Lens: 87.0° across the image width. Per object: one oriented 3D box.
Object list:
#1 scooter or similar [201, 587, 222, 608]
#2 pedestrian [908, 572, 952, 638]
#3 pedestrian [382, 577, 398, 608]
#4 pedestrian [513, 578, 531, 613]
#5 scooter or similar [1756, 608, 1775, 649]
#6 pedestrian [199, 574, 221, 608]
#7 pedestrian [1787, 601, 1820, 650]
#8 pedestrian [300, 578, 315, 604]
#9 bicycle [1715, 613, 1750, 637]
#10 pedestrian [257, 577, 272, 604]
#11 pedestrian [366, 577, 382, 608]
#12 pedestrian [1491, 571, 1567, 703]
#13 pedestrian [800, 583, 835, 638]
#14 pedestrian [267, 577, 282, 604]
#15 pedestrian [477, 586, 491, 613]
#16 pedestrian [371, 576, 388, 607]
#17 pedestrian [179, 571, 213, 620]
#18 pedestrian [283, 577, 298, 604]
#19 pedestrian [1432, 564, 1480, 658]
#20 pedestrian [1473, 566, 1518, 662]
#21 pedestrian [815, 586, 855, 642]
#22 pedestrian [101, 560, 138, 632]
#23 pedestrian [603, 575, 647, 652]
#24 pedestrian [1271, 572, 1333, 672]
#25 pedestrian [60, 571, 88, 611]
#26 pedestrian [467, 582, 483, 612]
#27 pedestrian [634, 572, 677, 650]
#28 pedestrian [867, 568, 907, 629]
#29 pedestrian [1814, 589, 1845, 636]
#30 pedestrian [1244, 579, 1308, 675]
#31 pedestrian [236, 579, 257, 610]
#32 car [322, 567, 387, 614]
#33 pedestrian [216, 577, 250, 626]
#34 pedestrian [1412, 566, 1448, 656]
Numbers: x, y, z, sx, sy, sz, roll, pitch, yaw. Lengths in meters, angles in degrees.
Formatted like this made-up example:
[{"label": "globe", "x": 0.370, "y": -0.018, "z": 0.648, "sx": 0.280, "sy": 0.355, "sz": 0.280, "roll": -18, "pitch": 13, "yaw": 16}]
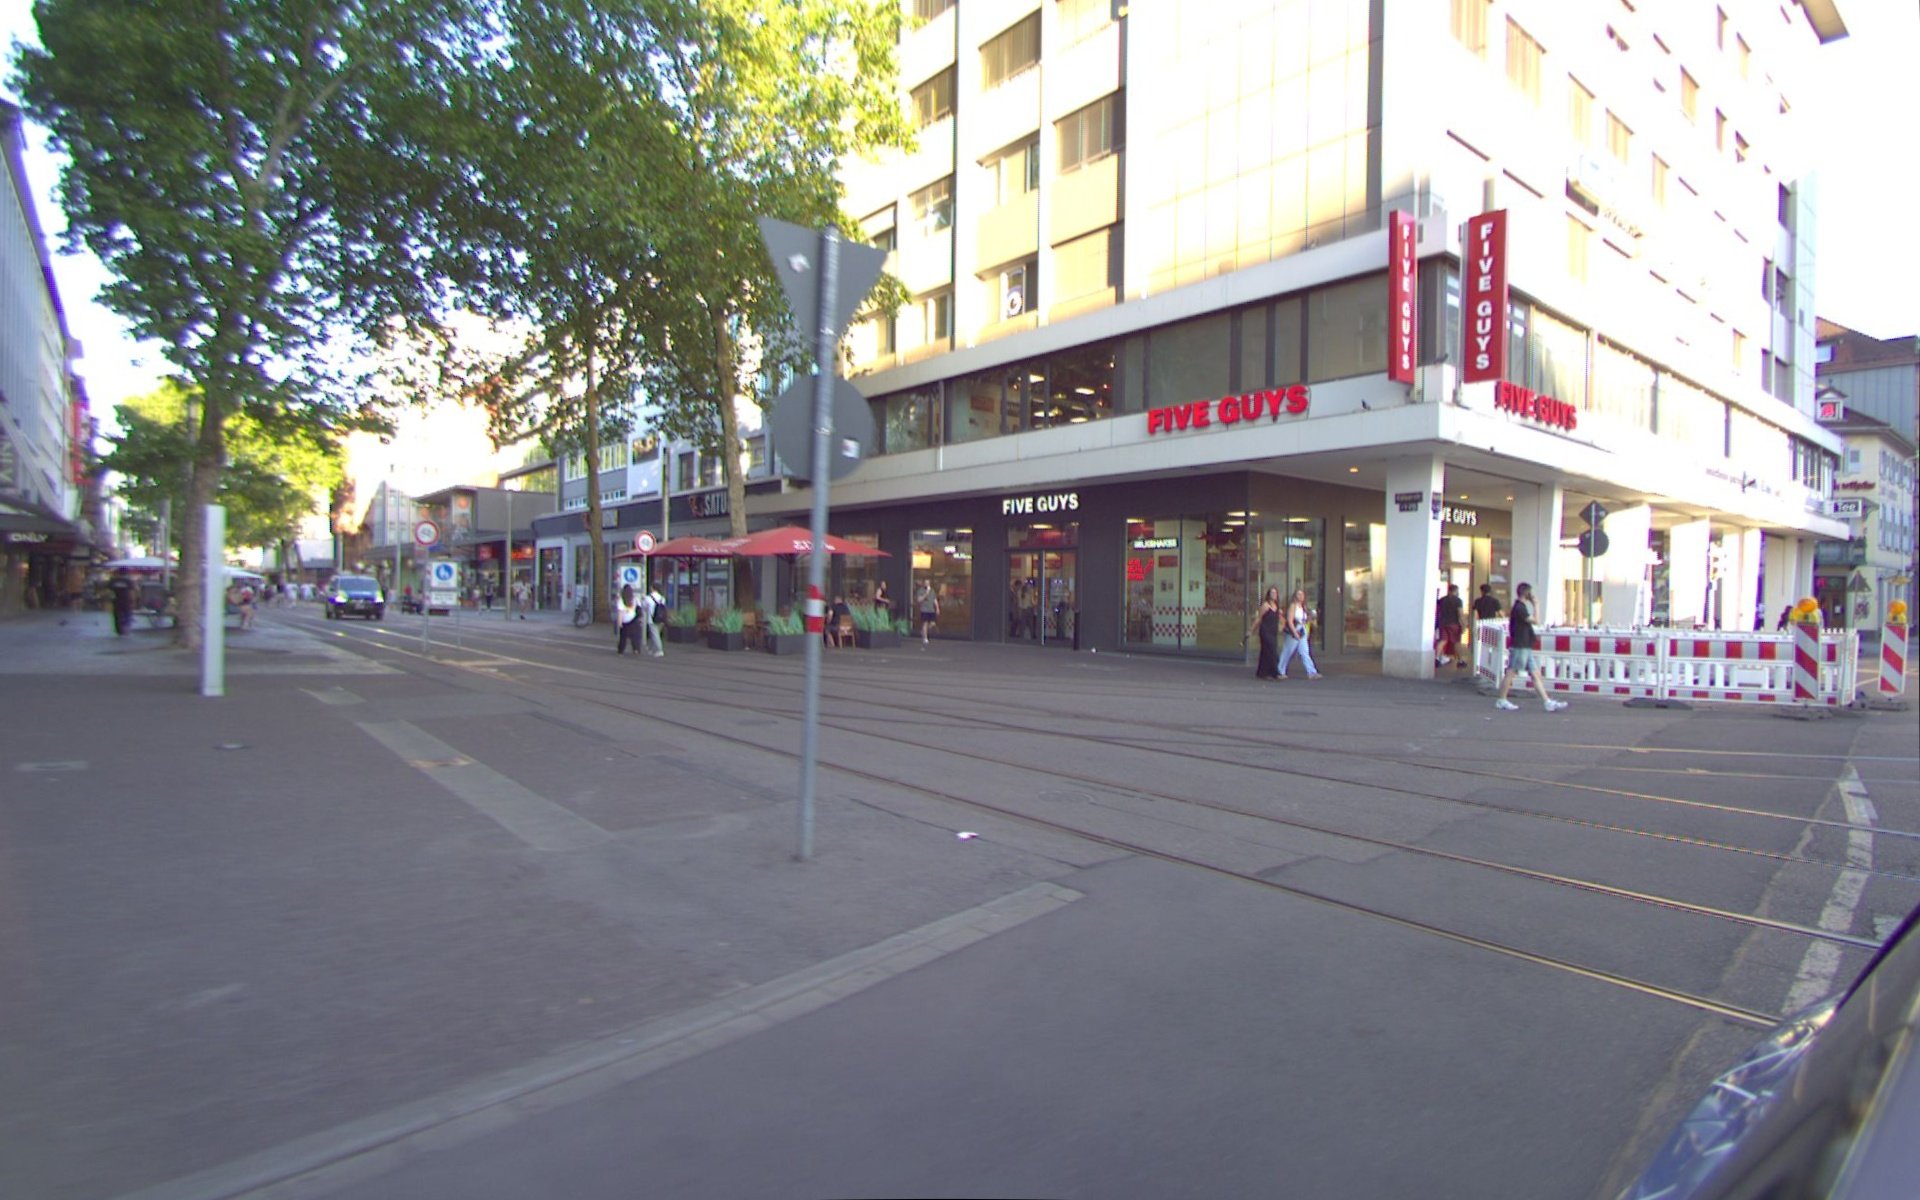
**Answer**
[{"label": "scooter or similar", "x": -35.669, "y": -0.113, "z": 48.207, "sx": 0.771, "sy": 0.981, "sz": 0.663, "roll": 0, "pitch": -1, "yaw": -40}, {"label": "pedestrian", "x": -0.807, "y": 0.135, "z": 26.955, "sx": 0.826, "sy": 1.715, "sz": 0.840, "roll": 0, "pitch": -1, "yaw": -39}, {"label": "pedestrian", "x": -31.121, "y": -0.410, "z": 55.234, "sx": 0.651, "sy": 1.632, "sz": 0.663, "roll": 1, "pitch": -1, "yaw": -40}, {"label": "pedestrian", "x": -21.039, "y": -0.209, "z": 48.640, "sx": 0.651, "sy": 1.632, "sz": 0.663, "roll": 1, "pitch": -1, "yaw": -40}, {"label": "scooter or similar", "x": 30.249, "y": 1.072, "z": 37.997, "sx": 1.291, "sy": 1.507, "sz": 0.314, "roll": 1, "pitch": 0, "yaw": -40}, {"label": "pedestrian", "x": -36.093, "y": -0.431, "z": 48.704, "sx": 0.818, "sy": 1.632, "sz": 0.663, "roll": 0, "pitch": -1, "yaw": -40}, {"label": "pedestrian", "x": 29.734, "y": 0.905, "z": 35.675, "sx": 0.691, "sy": 1.715, "sz": 0.538, "roll": -1, "pitch": -1, "yaw": 14}, {"label": "pedestrian", "x": -43.674, "y": -0.609, "z": 67.702, "sx": 0.747, "sy": 1.749, "sz": 0.663, "roll": 0, "pitch": -1, "yaw": -40}, {"label": "bicycle", "x": 34.859, "y": 1.124, "z": 45.649, "sx": 1.812, "sy": 1.042, "sz": 0.771, "roll": 3, "pitch": -3, "yaw": -37}, {"label": "pedestrian", "x": -45.078, "y": -0.618, "z": 65.580, "sx": 0.747, "sy": 1.749, "sz": 0.663, "roll": 0, "pitch": -1, "yaw": -40}, {"label": "pedestrian", "x": -31.640, "y": -0.412, "z": 54.609, "sx": 0.651, "sy": 1.632, "sz": 0.663, "roll": 1, "pitch": -1, "yaw": -40}, {"label": "pedestrian", "x": 7.925, "y": 0.511, "z": 14.124, "sx": 0.712, "sy": 1.792, "sz": 0.668, "roll": -1, "pitch": -1, "yaw": 10}, {"label": "pedestrian", "x": -3.686, "y": 0.270, "z": 26.159, "sx": 0.678, "sy": 1.387, "sz": 0.643, "roll": 0, "pitch": -1, "yaw": -40}, {"label": "pedestrian", "x": -45.078, "y": -0.609, "z": 66.571, "sx": 0.747, "sy": 1.749, "sz": 0.663, "roll": 0, "pitch": -1, "yaw": -40}, {"label": "pedestrian", "x": -28.945, "y": -0.025, "z": 61.559, "sx": 0.651, "sy": 1.632, "sz": 0.663, "roll": 1, "pitch": -1, "yaw": -40}, {"label": "pedestrian", "x": -30.838, "y": -0.426, "z": 53.779, "sx": 0.651, "sy": 1.632, "sz": 0.663, "roll": 1, "pitch": -1, "yaw": -40}, {"label": "pedestrian", "x": -23.037, "y": -0.131, "z": 30.521, "sx": 0.769, "sy": 1.433, "sz": 0.777, "roll": 0, "pitch": -1, "yaw": -40}, {"label": "pedestrian", "x": -44.373, "y": -0.609, "z": 67.109, "sx": 0.747, "sy": 1.749, "sz": 0.663, "roll": 0, "pitch": -1, "yaw": -40}, {"label": "pedestrian", "x": 10.978, "y": 0.236, "z": 22.395, "sx": 0.508, "sy": 2.039, "sz": 0.780, "roll": 0, "pitch": -1, "yaw": -38}, {"label": "pedestrian", "x": 11.564, "y": 0.305, "z": 21.850, "sx": 0.462, "sy": 2.039, "sz": 0.708, "roll": 0, "pitch": -1, "yaw": -30}, {"label": "pedestrian", "x": -3.123, "y": 0.351, "z": 25.327, "sx": 0.678, "sy": 1.387, "sz": 0.777, "roll": 0, "pitch": -1, "yaw": -40}, {"label": "pedestrian", "x": -21.731, "y": -0.095, "z": 26.171, "sx": 0.701, "sy": 1.846, "sz": 0.777, "roll": 1, "pitch": -1, "yaw": -40}, {"label": "pedestrian", "x": -7.512, "y": 0.299, "z": 22.683, "sx": 0.714, "sy": 1.683, "sz": 0.777, "roll": 0, "pitch": -1, "yaw": -40}, {"label": "pedestrian", "x": 6.231, "y": 0.395, "z": 18.449, "sx": 0.759, "sy": 1.757, "sz": 0.789, "roll": 0, "pitch": -1, "yaw": -40}, {"label": "pedestrian", "x": -36.739, "y": -0.354, "z": 41.975, "sx": 0.818, "sy": 1.632, "sz": 0.663, "roll": 0, "pitch": -1, "yaw": -40}, {"label": "pedestrian", "x": -27.030, "y": -0.168, "z": 56.377, "sx": 0.651, "sy": 1.632, "sz": 0.663, "roll": 1, "pitch": -1, "yaw": -40}, {"label": "pedestrian", "x": -6.975, "y": 0.255, "z": 23.208, "sx": 0.701, "sy": 1.757, "sz": 0.777, "roll": 1, "pitch": -1, "yaw": -40}, {"label": "pedestrian", "x": -2.108, "y": -0.041, "z": 29.370, "sx": 0.826, "sy": 1.715, "sz": 0.840, "roll": 0, "pitch": -1, "yaw": -39}, {"label": "pedestrian", "x": 34.622, "y": 0.506, "z": 40.307, "sx": 0.835, "sy": 1.839, "sz": 0.702, "roll": 1, "pitch": -1, "yaw": -33}, {"label": "pedestrian", "x": 5.616, "y": 0.468, "z": 17.992, "sx": 0.701, "sy": 1.651, "sz": 0.826, "roll": 0, "pitch": -1, "yaw": -40}, {"label": "pedestrian", "x": -37.111, "y": -0.286, "z": 52.626, "sx": 0.818, "sy": 1.632, "sz": 0.663, "roll": 0, "pitch": -1, "yaw": -40}, {"label": "car", "x": -27.650, "y": -0.403, "z": 46.149, "sx": 1.964, "sy": 2.039, "sz": 4.290, "roll": 0, "pitch": -1, "yaw": -39}, {"label": "pedestrian", "x": -21.672, "y": 0.061, "z": 30.164, "sx": 0.765, "sy": 1.433, "sz": 0.782, "roll": 0, "pitch": -1, "yaw": -40}, {"label": "pedestrian", "x": 10.858, "y": 0.253, "z": 23.397, "sx": 0.462, "sy": 2.039, "sz": 0.707, "roll": 0, "pitch": -1, "yaw": 2}]
